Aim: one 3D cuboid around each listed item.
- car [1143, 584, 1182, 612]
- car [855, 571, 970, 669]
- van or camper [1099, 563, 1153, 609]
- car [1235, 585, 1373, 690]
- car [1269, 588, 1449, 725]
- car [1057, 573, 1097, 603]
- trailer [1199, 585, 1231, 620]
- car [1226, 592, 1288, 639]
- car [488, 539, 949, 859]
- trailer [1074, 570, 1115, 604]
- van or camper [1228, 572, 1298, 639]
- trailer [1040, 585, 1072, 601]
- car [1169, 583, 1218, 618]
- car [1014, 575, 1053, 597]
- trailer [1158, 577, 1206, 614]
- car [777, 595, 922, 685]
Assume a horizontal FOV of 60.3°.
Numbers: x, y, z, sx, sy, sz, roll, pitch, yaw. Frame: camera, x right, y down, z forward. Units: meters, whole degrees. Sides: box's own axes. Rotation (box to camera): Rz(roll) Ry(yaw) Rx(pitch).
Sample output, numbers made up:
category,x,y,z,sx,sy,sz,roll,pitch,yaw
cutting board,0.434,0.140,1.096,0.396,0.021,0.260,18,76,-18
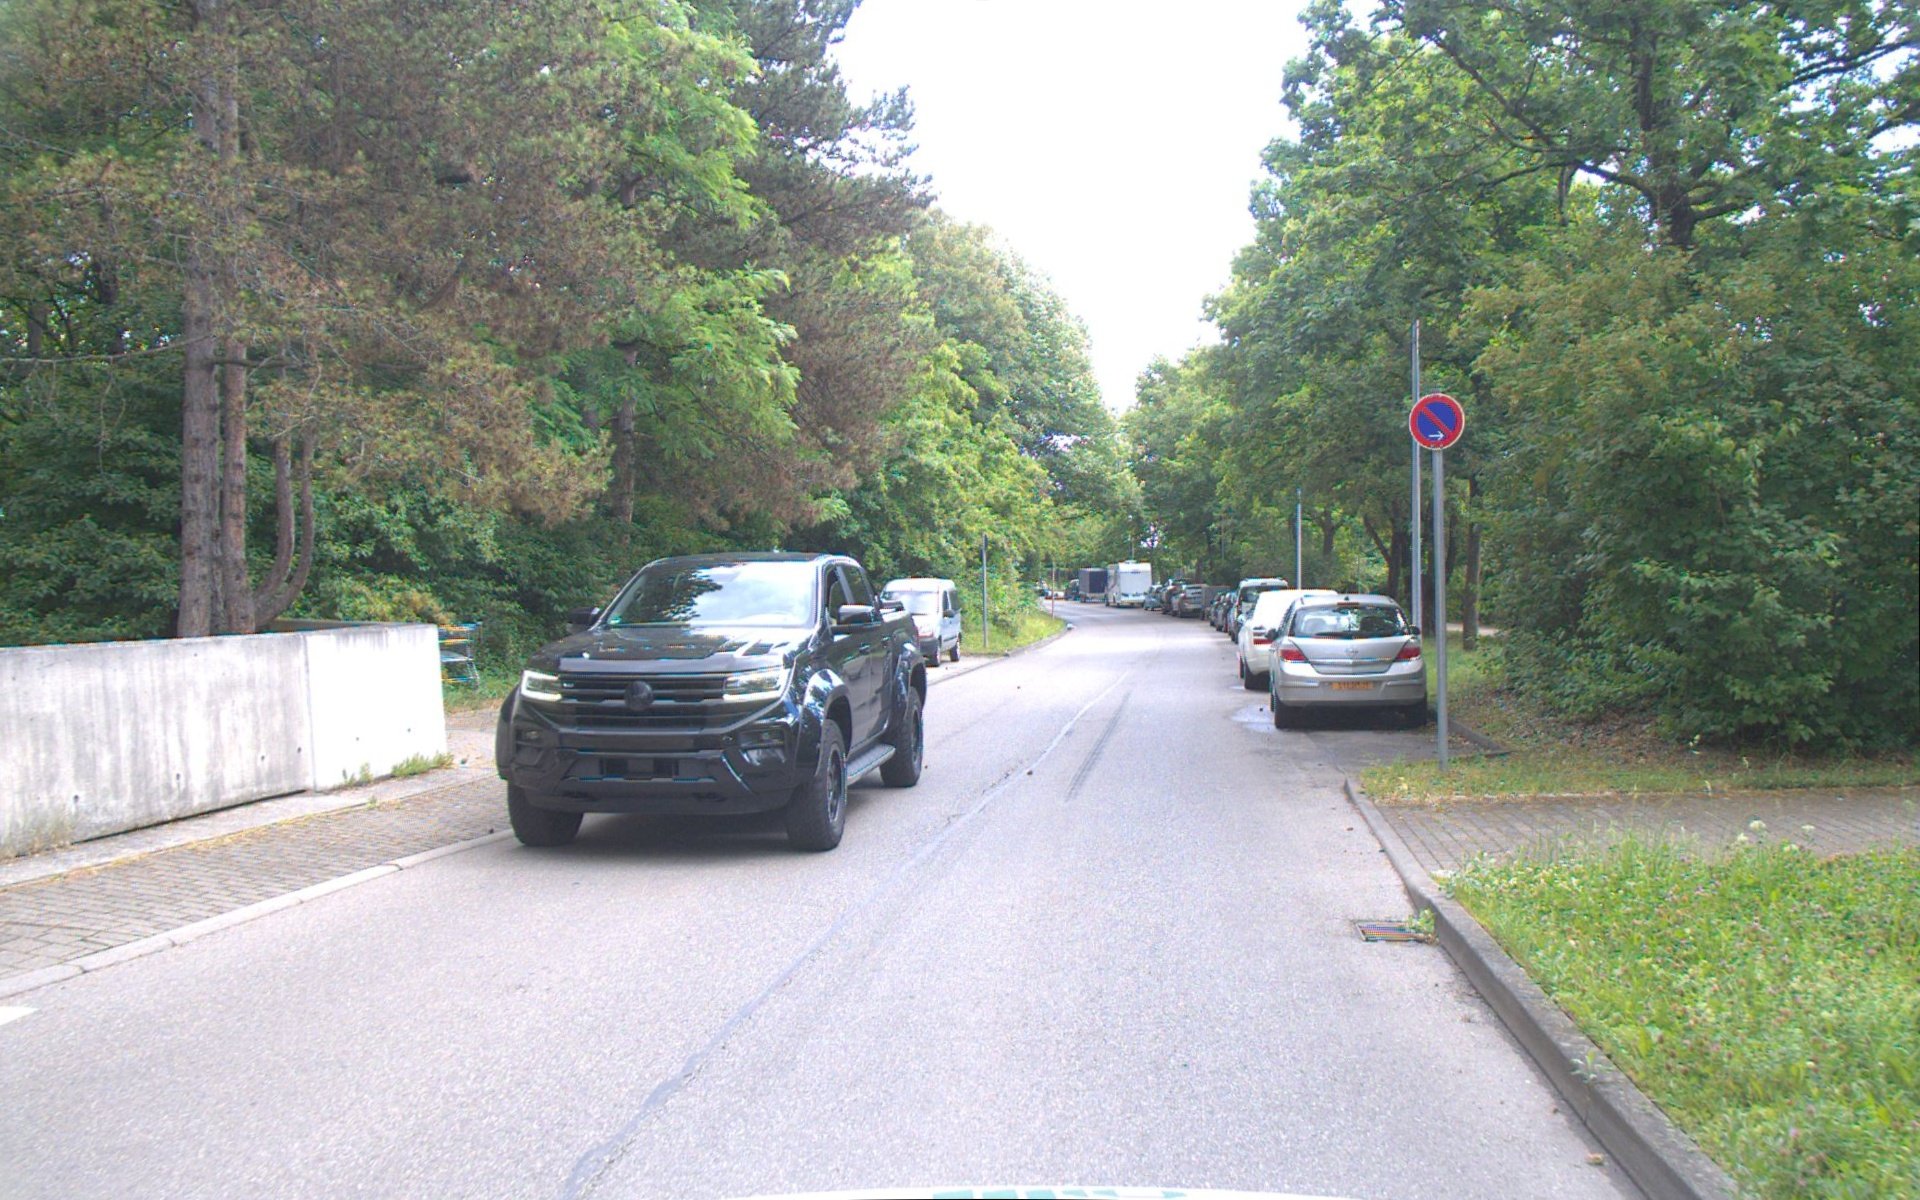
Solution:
category,x,y,z,sx,sy,sz,roll,pitch,yaw
car,12.234,-0.130,100.175,1.763,1.589,3.834,-2,1,-2
car,-0.956,0.374,35.854,1.684,1.955,4.108,1,1,10
van or camper,11.061,-0.941,110.546,2.433,2.926,6.884,-1,0,-4
car,5.537,0.548,27.172,1.846,1.533,5.180,-1,0,8
car,4.658,0.599,19.772,1.754,1.435,4.063,-1,0,9
car,8.962,-0.935,126.798,1.959,2.060,3.988,-4,3,-12
trailer,12.050,0.121,78.105,1.252,1.612,2.461,-1,0,4
car,9.675,0.478,54.115,1.774,1.462,4.246,0,1,7
car,-1.387,0.552,11.909,1.951,1.766,5.341,-1,0,7
trailer,9.839,-0.952,121.372,1.958,2.440,3.989,-1,1,-12
van or camper,8.829,0.191,48.426,1.763,1.870,4.323,-1,-1,7
trailer,7.567,-0.533,130.704,1.622,1.105,3.992,-3,2,-9
car,11.894,0.041,84.452,1.756,1.699,4.500,-1,-1,-1
car,6.227,-1.201,139.914,2.003,1.835,4.064,-2,1,-17
trailer,12.136,-0.280,90.794,1.938,1.843,5.149,-2,1,1
car,-1.881,0.651,29.513,1.767,1.427,4.375,1,1,7
